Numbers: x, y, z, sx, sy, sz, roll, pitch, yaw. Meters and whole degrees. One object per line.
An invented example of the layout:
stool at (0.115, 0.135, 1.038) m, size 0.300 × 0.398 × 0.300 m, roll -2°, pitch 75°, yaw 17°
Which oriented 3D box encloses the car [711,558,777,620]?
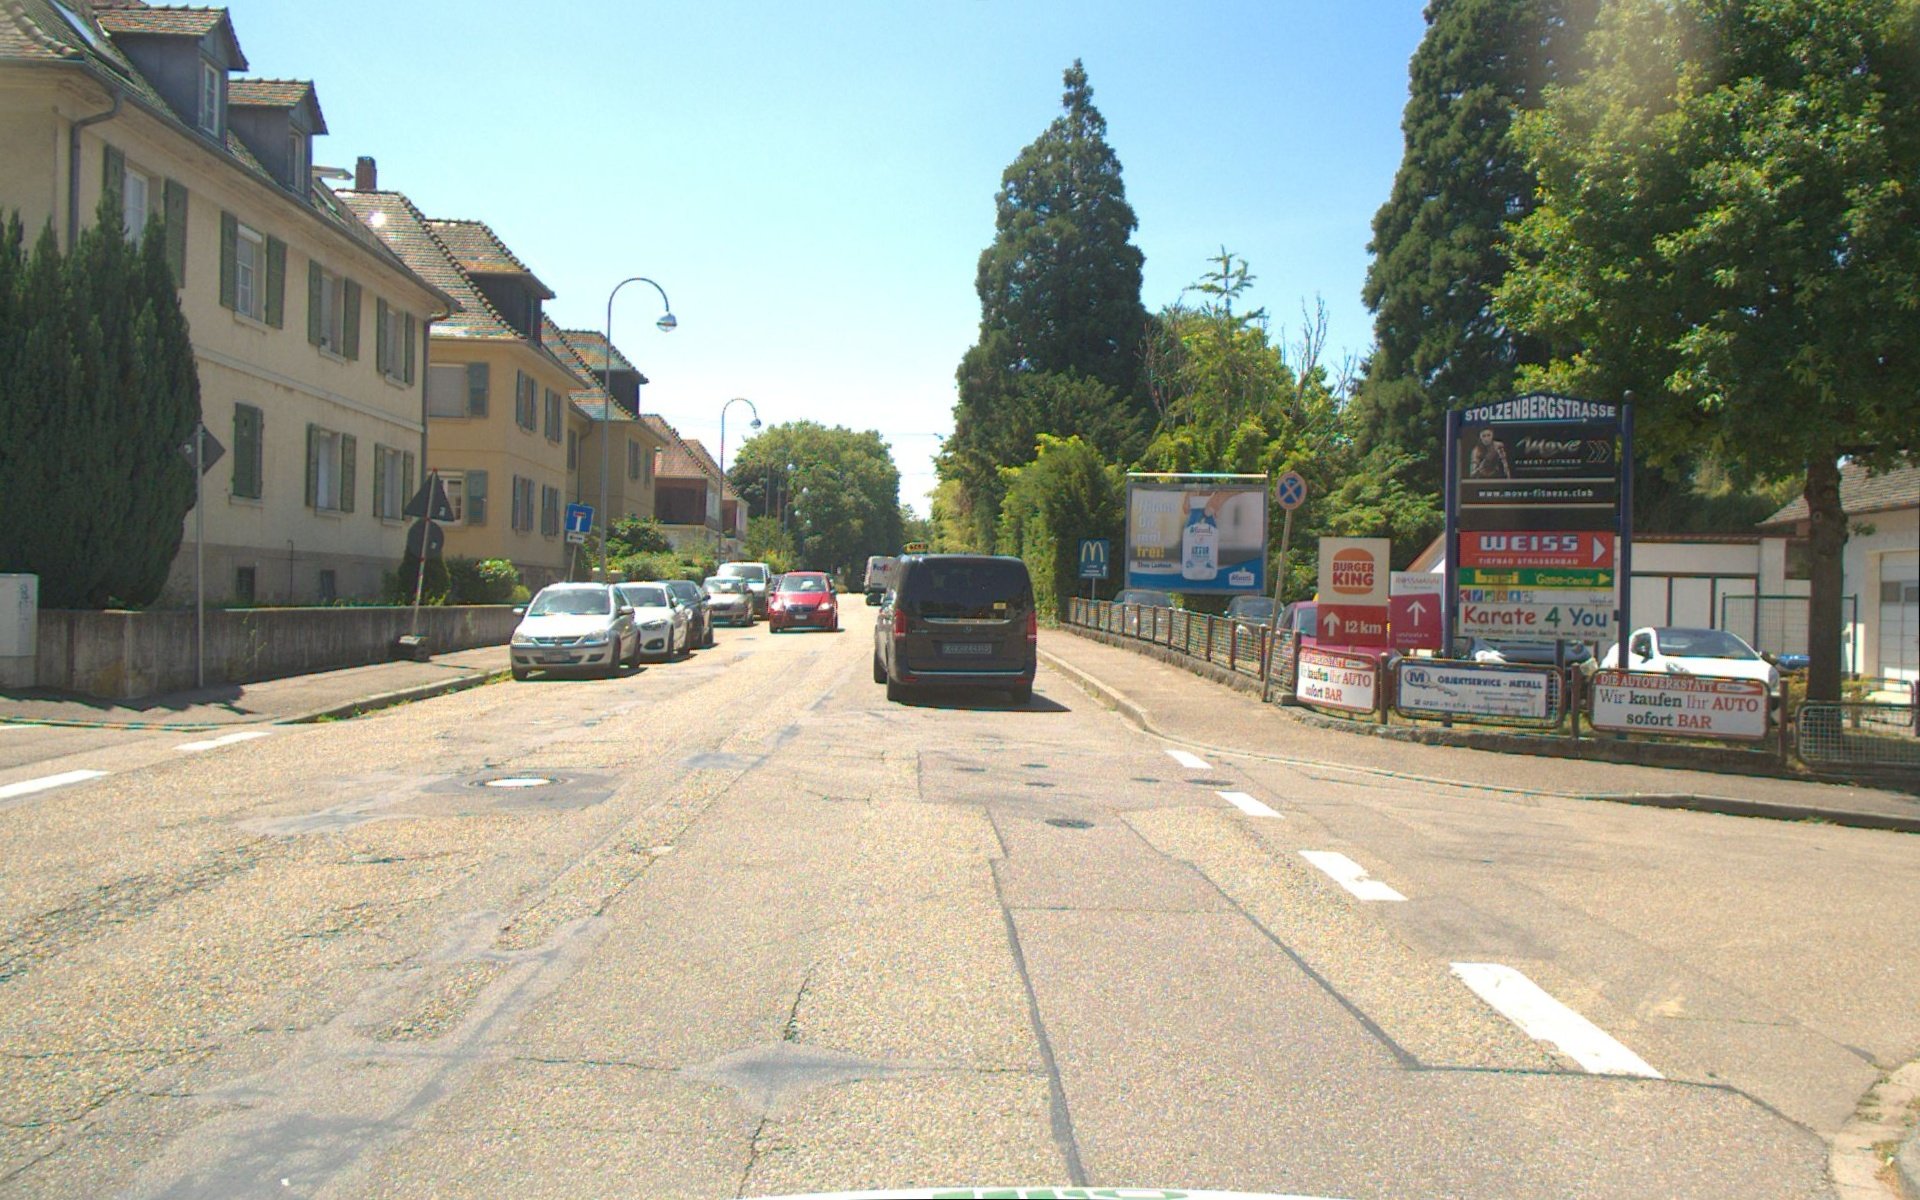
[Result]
car at (-7.389, -0.415, 57.052) m, size 1.840 × 1.997 × 4.623 m, roll -1°, pitch 1°, yaw -3°

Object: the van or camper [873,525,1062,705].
van or camper at (-0.041, 0.144, 22.063) m, size 1.866 × 2.048 × 5.263 m, roll 2°, pitch 1°, yaw -6°

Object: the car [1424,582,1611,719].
car at (7.892, 0.645, 23.801) m, size 1.675 × 1.694 × 4.463 m, roll 3°, pitch 1°, yaw 8°

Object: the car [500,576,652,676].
car at (-6.068, 0.367, 26.543) m, size 1.724 × 1.473 × 3.922 m, roll 0°, pitch 1°, yaw -4°

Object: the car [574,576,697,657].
car at (-6.099, 0.261, 31.520) m, size 1.759 × 1.426 × 4.216 m, roll 0°, pitch 1°, yaw -4°

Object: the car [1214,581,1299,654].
car at (7.233, 0.404, 40.606) m, size 1.597 × 1.569 × 3.394 m, roll 5°, pitch 0°, yaw 4°

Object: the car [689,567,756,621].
car at (-7.244, -0.210, 50.704) m, size 1.653 × 1.551 × 4.060 m, roll 1°, pitch 1°, yaw -3°

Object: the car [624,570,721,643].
car at (-6.323, 0.119, 36.750) m, size 1.682 × 1.511 × 4.073 m, roll -1°, pitch 1°, yaw -4°

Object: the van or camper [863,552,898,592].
van or camper at (-5.339, -1.866, 110.515) m, size 2.218 × 2.572 × 4.756 m, roll 0°, pitch 1°, yaw -4°

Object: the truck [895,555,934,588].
truck at (-3.351, -2.037, 120.390) m, size 2.310 × 2.298 × 6.084 m, roll 1°, pitch 1°, yaw -6°

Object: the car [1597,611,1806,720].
car at (10.249, 0.861, 23.111) m, size 1.675 × 1.292 × 3.387 m, roll 2°, pitch 1°, yaw 6°

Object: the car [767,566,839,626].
car at (-4.288, -0.122, 45.531) m, size 1.778 × 1.593 × 3.695 m, roll 0°, pitch 1°, yaw -2°

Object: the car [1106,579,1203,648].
car at (4.693, 0.296, 40.376) m, size 1.600 × 1.484 × 3.553 m, roll 5°, pitch 0°, yaw -4°

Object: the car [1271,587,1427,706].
car at (5.567, 0.609, 24.072) m, size 1.675 × 1.550 × 3.842 m, roll 1°, pitch 1°, yaw 5°
